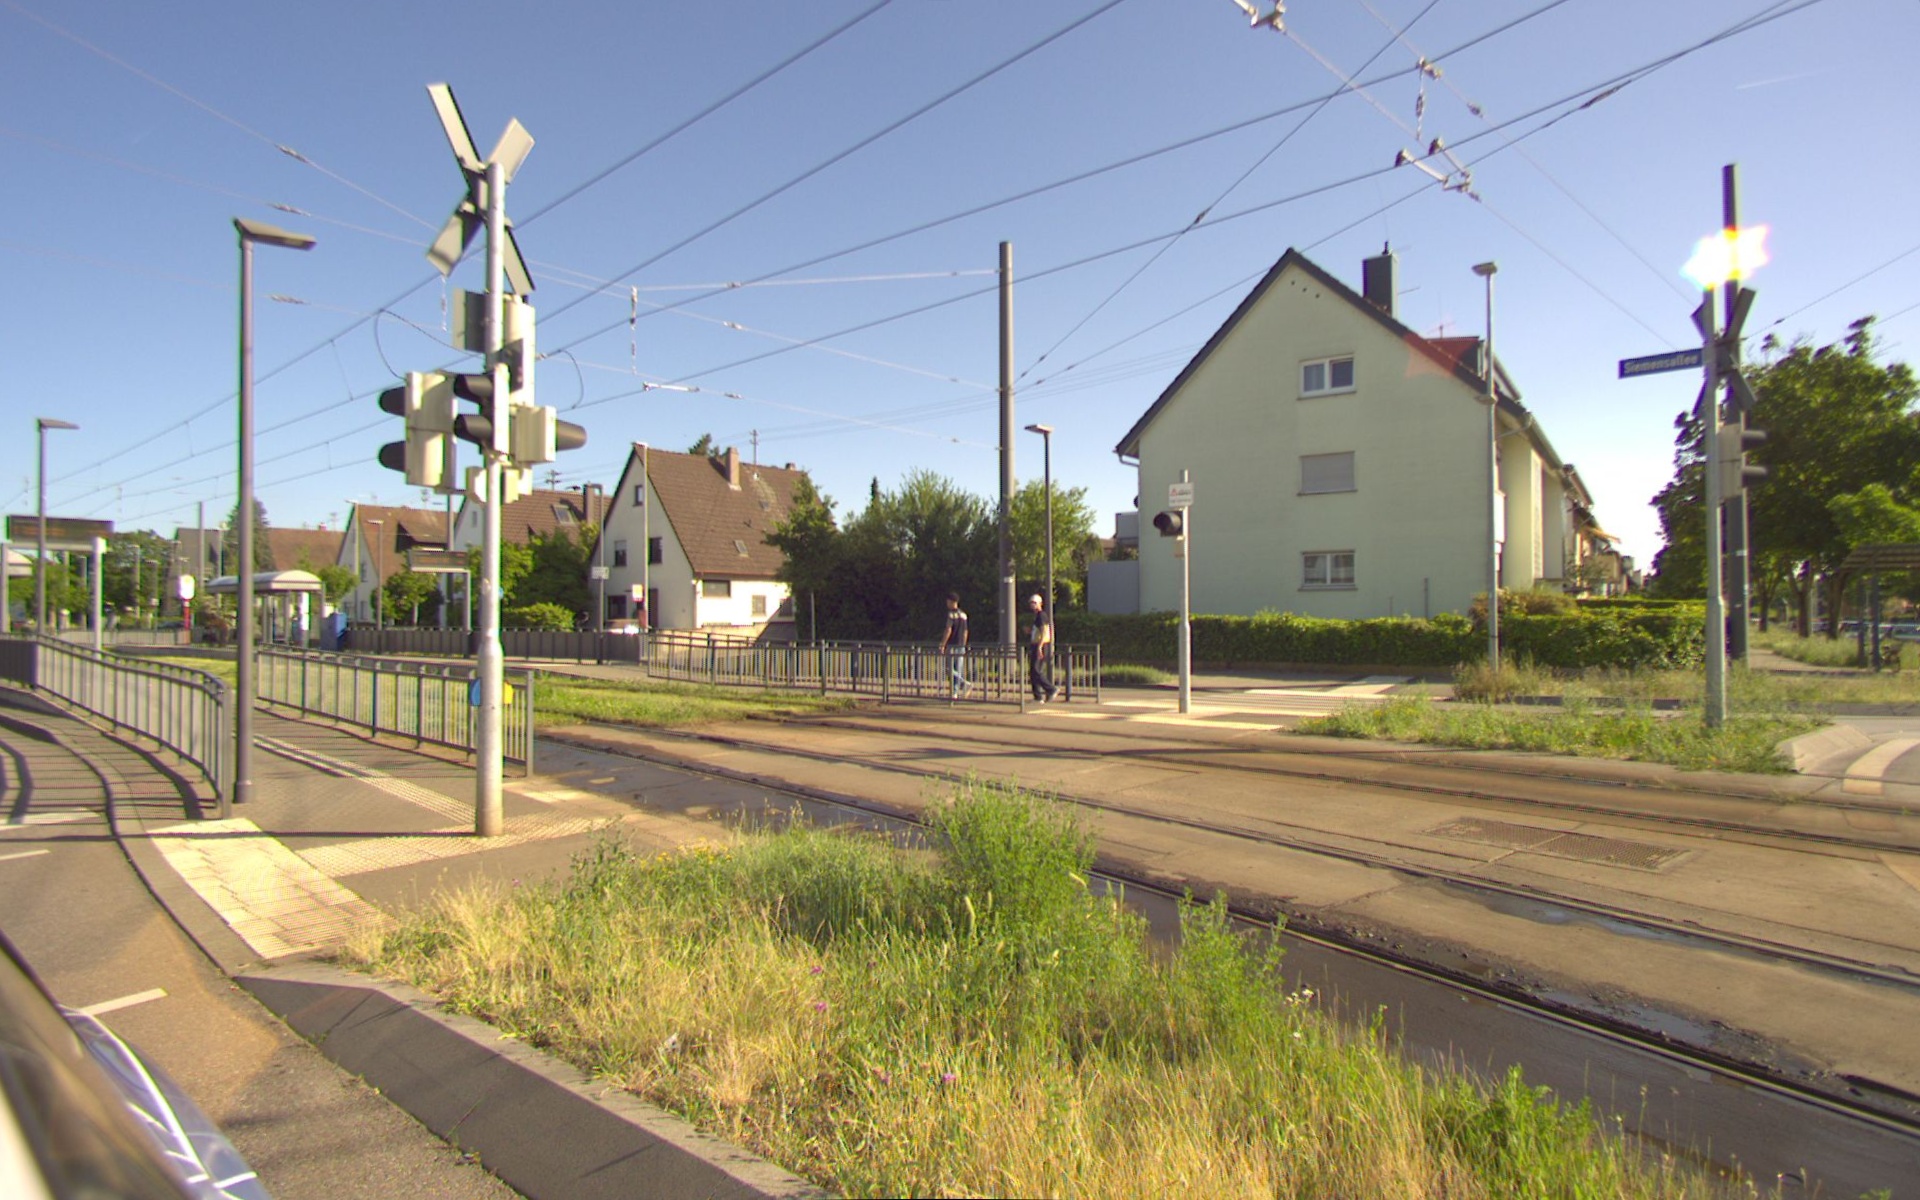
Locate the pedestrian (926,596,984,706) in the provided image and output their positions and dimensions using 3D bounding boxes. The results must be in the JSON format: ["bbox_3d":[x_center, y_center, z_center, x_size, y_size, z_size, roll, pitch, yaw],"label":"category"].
[{"bbox_3d":[-0.080,0.828,16.928,0.818,1.784,0.686,1,1,16],"label":"pedestrian"}]

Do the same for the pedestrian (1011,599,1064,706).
[{"bbox_3d":[1.260,0.827,16.419,0.721,1.673,0.792,1,1,16],"label":"pedestrian"}]

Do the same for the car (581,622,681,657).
[{"bbox_3d":[-15.111,1.791,46.613,1.997,1.547,3.941,-2,-2,37],"label":"car"}]

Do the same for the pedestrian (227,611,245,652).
[{"bbox_3d":[-31.271,1.350,43.712,0.543,1.766,0.528,-2,-2,40],"label":"pedestrian"}]

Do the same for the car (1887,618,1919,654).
[{"bbox_3d":[42.005,1.564,44.171,1.823,1.403,3.745,-1,0,36],"label":"car"}]

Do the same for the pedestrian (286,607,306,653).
[{"bbox_3d":[-25.721,1.159,39.192,0.612,1.766,0.443,0,-2,-30],"label":"pedestrian"}]
